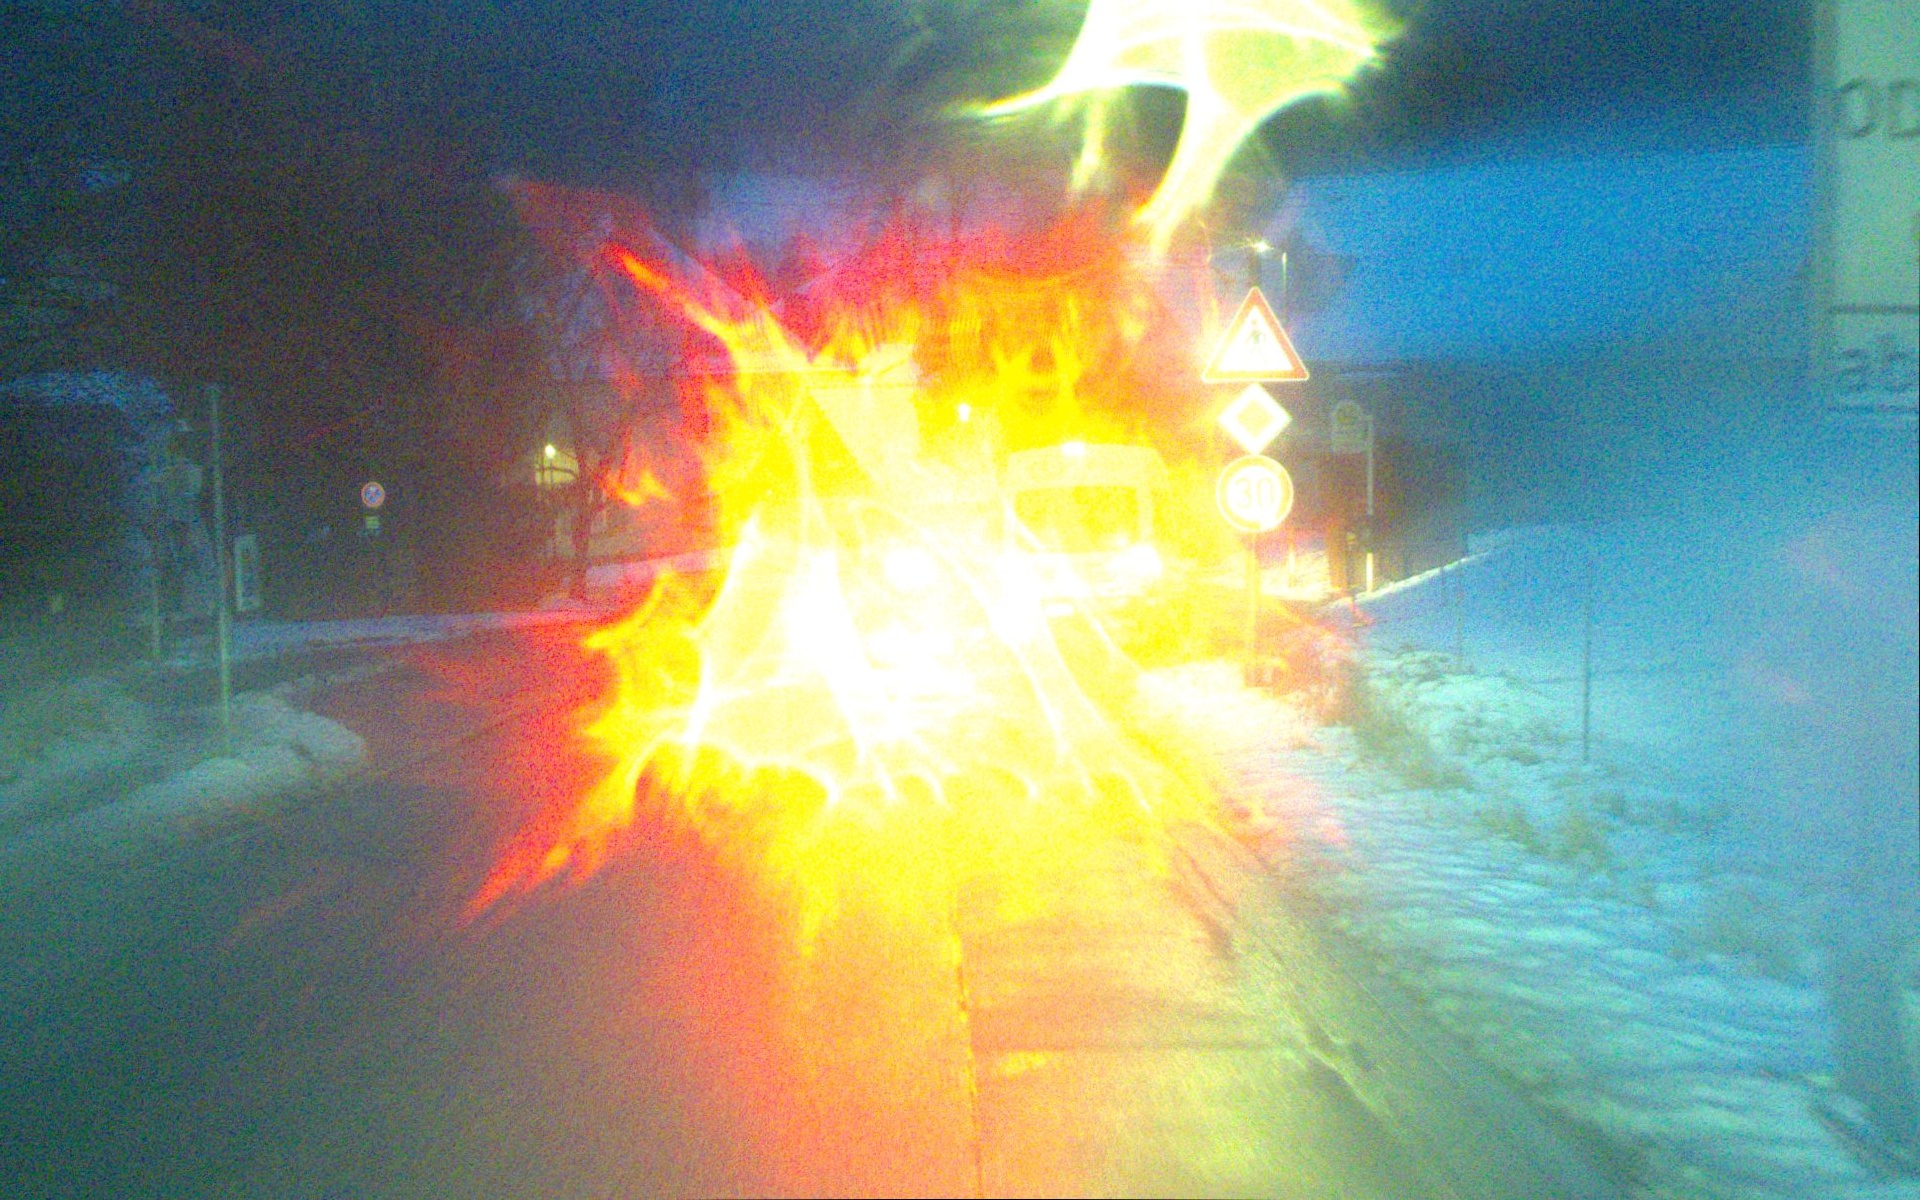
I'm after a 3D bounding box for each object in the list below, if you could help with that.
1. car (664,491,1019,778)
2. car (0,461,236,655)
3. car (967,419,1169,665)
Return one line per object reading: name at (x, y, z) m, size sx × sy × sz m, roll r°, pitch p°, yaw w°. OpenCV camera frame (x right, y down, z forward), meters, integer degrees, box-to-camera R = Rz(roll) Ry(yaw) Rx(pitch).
car at (-0.841, 0.188, 24.558) m, size 2.274 × 1.834 × 5.007 m, roll 0°, pitch 1°, yaw -2°
car at (-12.052, -0.622, 48.586) m, size 2.469 × 2.562 × 6.229 m, roll 0°, pitch 1°, yaw -1°
car at (1.394, -0.723, 45.844) m, size 2.435 × 3.008 × 5.325 m, roll -2°, pitch 0°, yaw 1°
